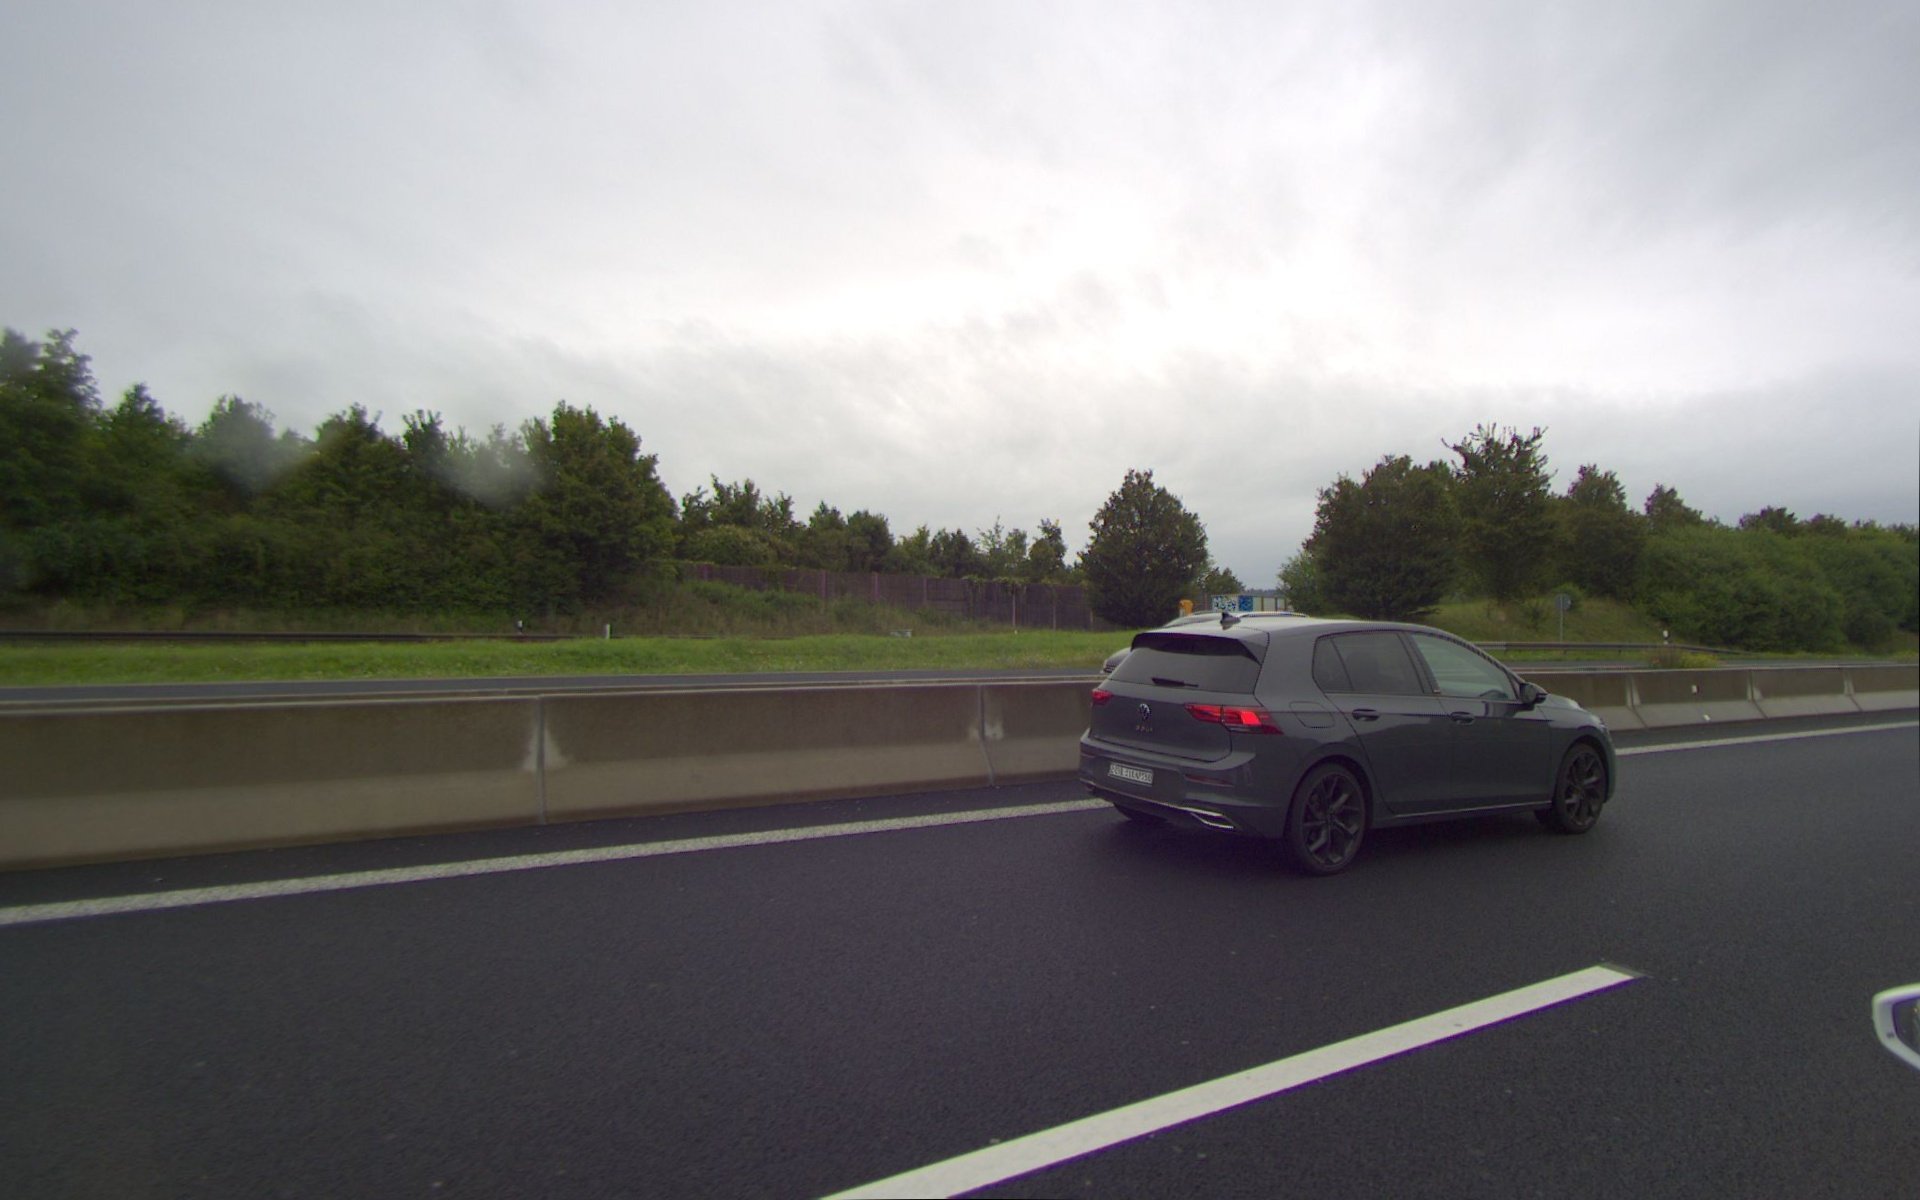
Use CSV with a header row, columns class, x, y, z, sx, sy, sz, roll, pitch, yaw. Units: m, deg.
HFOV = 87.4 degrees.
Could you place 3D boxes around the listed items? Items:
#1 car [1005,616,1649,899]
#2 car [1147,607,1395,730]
class,x,y,z,sx,sy,sz,roll,pitch,yaw
car,2.670,0.843,7.035,4.407,1.424,1.891,1,-1,-30
car,5.555,1.137,17.864,4.126,1.927,1.983,1,0,-32
